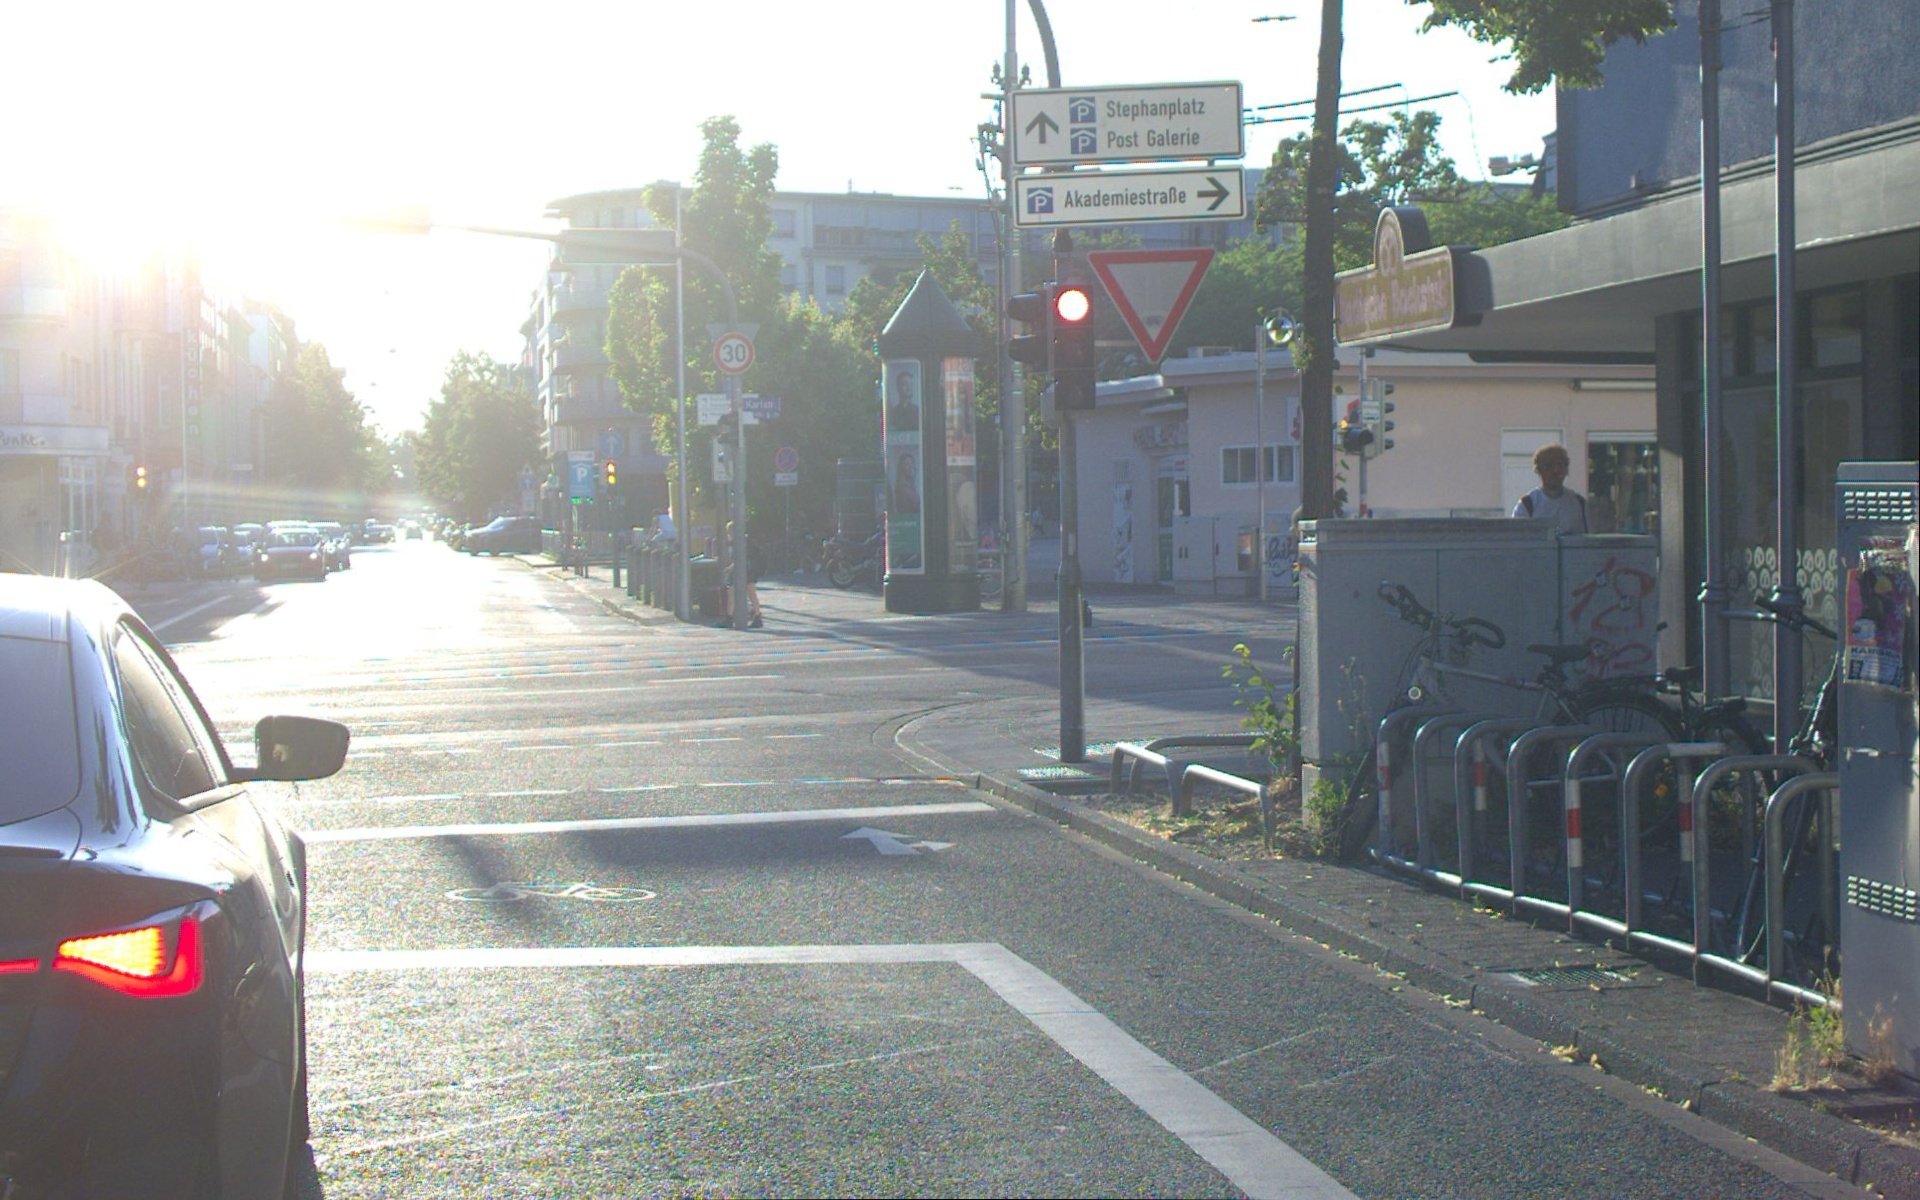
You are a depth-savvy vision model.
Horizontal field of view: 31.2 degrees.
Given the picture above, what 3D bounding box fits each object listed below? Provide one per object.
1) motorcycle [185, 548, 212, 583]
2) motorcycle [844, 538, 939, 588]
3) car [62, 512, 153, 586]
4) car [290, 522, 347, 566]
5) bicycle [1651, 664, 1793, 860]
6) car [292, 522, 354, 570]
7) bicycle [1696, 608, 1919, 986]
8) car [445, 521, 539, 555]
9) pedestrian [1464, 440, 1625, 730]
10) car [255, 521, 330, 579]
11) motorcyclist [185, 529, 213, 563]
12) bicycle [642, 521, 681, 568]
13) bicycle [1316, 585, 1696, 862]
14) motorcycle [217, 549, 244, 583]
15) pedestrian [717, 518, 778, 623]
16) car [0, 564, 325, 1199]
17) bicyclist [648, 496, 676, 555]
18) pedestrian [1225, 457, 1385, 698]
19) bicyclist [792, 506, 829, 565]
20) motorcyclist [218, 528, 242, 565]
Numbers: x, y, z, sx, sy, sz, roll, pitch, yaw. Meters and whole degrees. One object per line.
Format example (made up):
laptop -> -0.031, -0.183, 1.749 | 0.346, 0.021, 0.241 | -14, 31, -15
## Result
motorcycle -> -20.851, -0.950, 94.149 | 0.575, 0.912, 2.201 | 1, 1, -8
motorcycle -> -1.353, -0.734, 67.888 | 1.668, 0.935, 0.856 | -1, 2, -19
car -> -21.566, -1.315, 87.111 | 1.817, 1.782, 4.001 | -1, 2, -8
car -> -22.971, -2.014, 123.200 | 1.817, 1.514, 4.001 | -1, 2, -8
bicycle -> 3.366, 0.702, 15.237 | 0.249, 0.793, 1.116 | 1, 1, -7
car -> -20.927, -1.788, 113.020 | 1.817, 1.514, 4.001 | -1, 2, -8
bicycle -> 3.209, 0.646, 11.381 | 1.440, 1.216, 0.383 | 1, 1, -7
car -> -21.981, -2.929, 161.494 | 3.988, 1.514, 1.823 | -2, 2, -39
pedestrian -> 3.796, -0.106, 22.369 | 0.835, 1.835, 0.679 | -1, 1, -8
car -> -18.349, -1.402, 94.649 | 1.817, 1.514, 4.001 | -1, 2, -8
motorcyclist -> -20.838, -1.480, 94.141 | 0.575, 0.912, 2.201 | 1, 1, -8
bicycle -> -7.507, -1.398, 86.317 | 0.550, 1.155, 2.145 | 0, 1, -17
bicycle -> 2.405, 0.535, 15.159 | 1.612, 1.167, 0.318 | -1, 1, -6
motorcycle -> -19.906, -0.930, 93.775 | 0.575, 0.912, 2.201 | 1, 1, -8
pedestrian -> -3.125, -0.432, 50.540 | 0.732, 1.524, 0.472 | 0, 1, -29
car -> -2.115, 0.668, 6.499 | 1.736, 1.424, 4.225 | 0, 1, -10
bicyclist -> -7.482, -1.869, 86.236 | 0.550, 1.476, 0.723 | 0, 0, -17
pedestrian -> 2.790, -0.192, 27.814 | 1.001, 1.854, 0.640 | -5, 3, -28
bicyclist -> -3.850, -1.656, 88.497 | 0.884, 1.500, 0.612 | 1, 1, 3
motorcyclist -> -19.883, -1.458, 93.667 | 0.575, 0.992, 0.703 | 1, 1, -8
